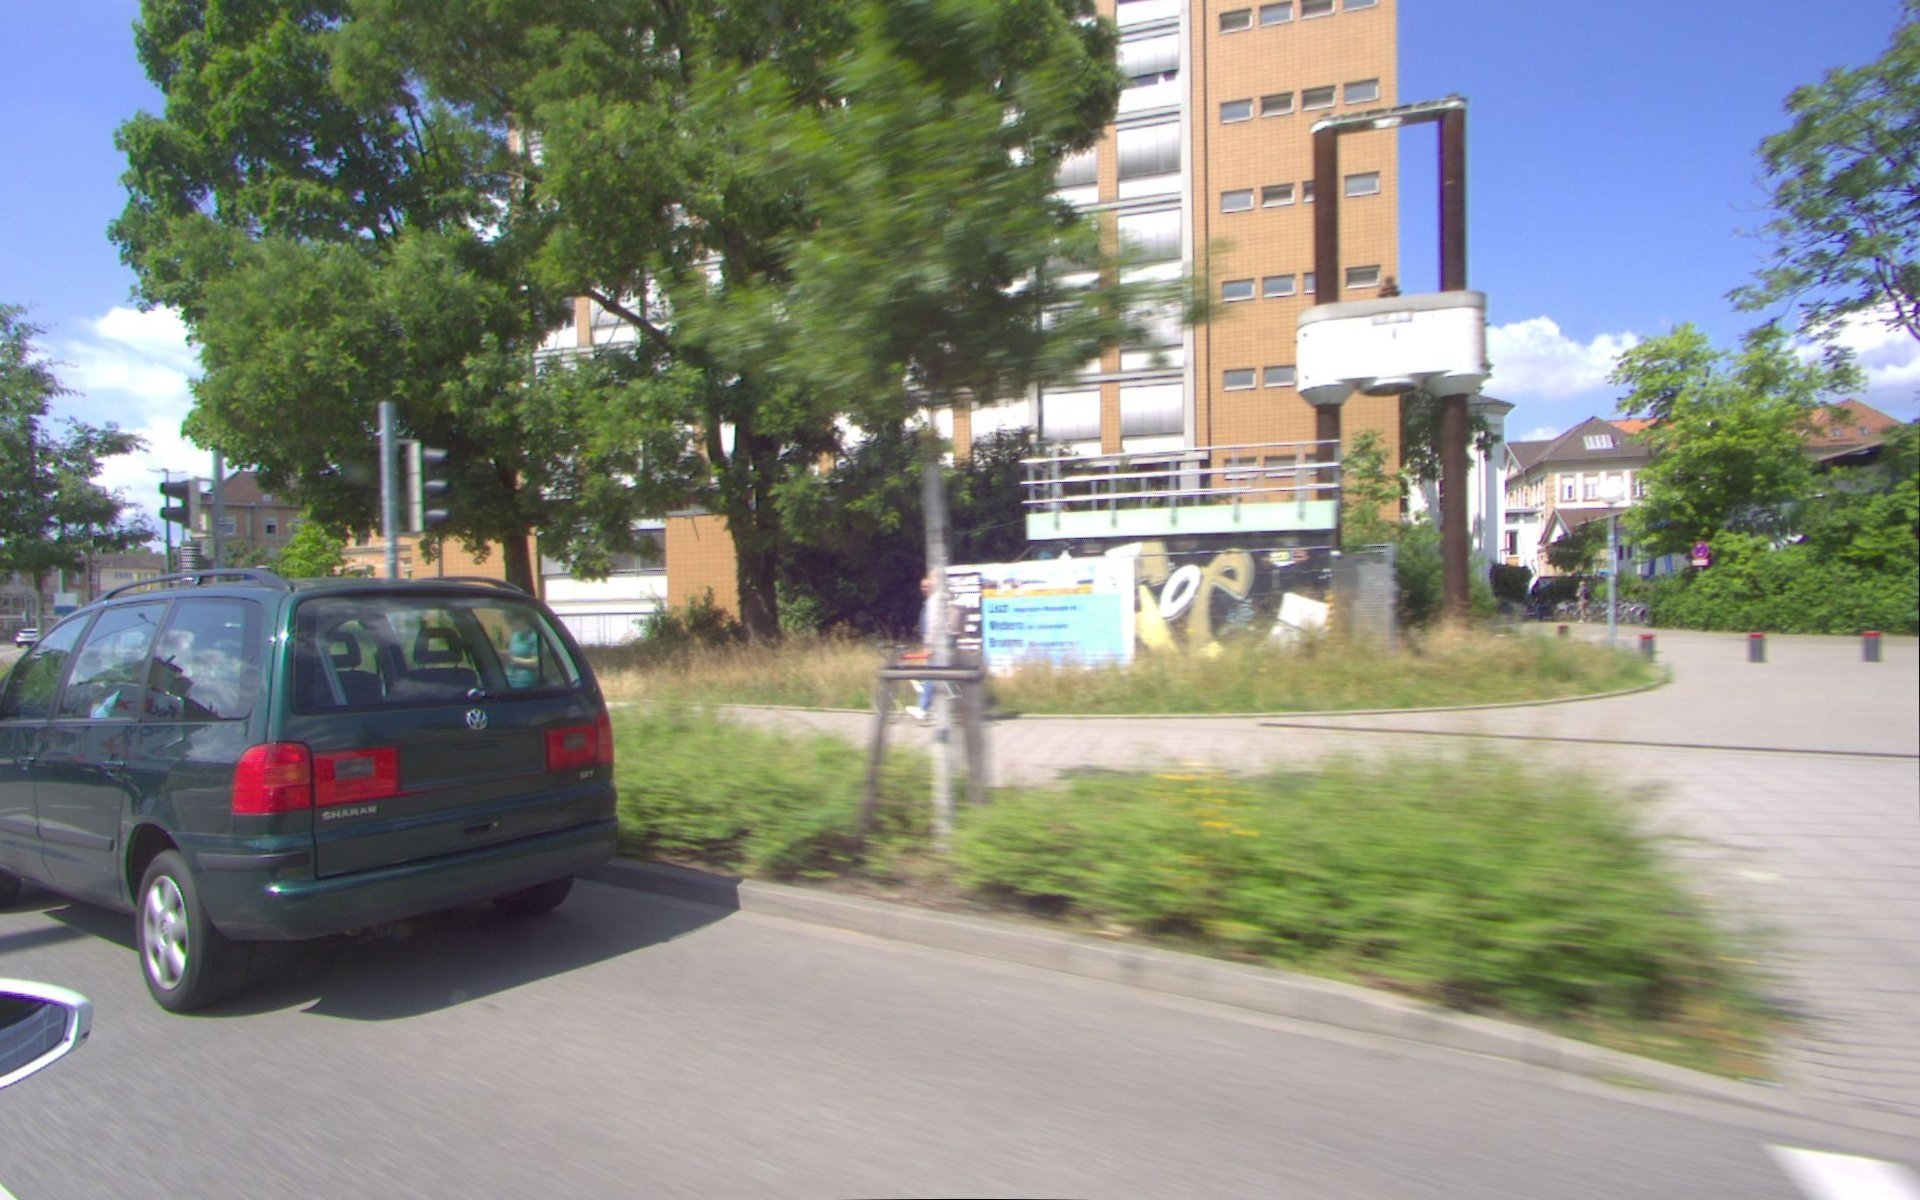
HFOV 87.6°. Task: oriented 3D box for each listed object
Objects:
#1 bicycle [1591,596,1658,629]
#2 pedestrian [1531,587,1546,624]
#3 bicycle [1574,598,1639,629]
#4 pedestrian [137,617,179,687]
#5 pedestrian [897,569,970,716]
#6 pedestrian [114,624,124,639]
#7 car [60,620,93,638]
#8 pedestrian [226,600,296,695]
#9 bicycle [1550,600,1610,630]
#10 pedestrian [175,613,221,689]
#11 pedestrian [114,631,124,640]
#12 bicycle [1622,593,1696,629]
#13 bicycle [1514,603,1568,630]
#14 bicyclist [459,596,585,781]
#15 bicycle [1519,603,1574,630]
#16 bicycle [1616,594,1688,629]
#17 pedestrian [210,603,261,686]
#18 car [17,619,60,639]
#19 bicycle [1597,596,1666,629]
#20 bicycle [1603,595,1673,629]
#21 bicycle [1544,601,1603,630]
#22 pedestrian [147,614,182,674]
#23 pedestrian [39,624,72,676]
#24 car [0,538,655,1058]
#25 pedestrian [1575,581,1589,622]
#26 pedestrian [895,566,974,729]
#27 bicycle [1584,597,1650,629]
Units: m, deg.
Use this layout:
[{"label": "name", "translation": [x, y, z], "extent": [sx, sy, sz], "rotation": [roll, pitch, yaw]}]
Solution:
[{"label": "bicycle", "translation": [28.826, 0.561, 43.473], "extent": [2.325, 1.364, 0.638], "rotation": [-1, -1, 15]}, {"label": "pedestrian", "translation": [29.504, 0.276, 51.079], "extent": [0.498, 1.874, 0.496], "rotation": [-1, -1, 12]}, {"label": "bicycle", "translation": [29.272, 0.626, 45.371], "extent": [2.325, 1.364, 0.638], "rotation": [-1, -1, 15]}, {"label": "pedestrian", "translation": [-19.388, 1.248, 24.206], "extent": [0.646, 1.648, 0.767], "rotation": [-4, 2, -45]}, {"label": "pedestrian", "translation": [-0.327, 0.511, 12.582], "extent": [0.600, 1.776, 0.749], "rotation": [0, 2, 28]}, {"label": "pedestrian", "translation": [-85.424, 3.220, 101.676], "extent": [0.684, 1.476, 0.677], "rotation": [0, -1, -29]}, {"label": "car", "translation": [-87.539, 2.878, 99.206], "extent": [1.862, 1.663, 3.933], "rotation": [0, 0, -33]}, {"label": "pedestrian", "translation": [-14.138, 0.949, 20.259], "extent": [0.767, 1.846, 0.755], "rotation": [-1, 3, 24]}, {"label": "bicycle", "translation": [29.672, 0.716, 47.930], "extent": [2.325, 1.364, 0.638], "rotation": [-1, -1, 15]}, {"label": "pedestrian", "translation": [-16.829, 1.128, 22.126], "extent": [0.717, 1.646, 0.586], "rotation": [-2, -1, 30]}, {"label": "pedestrian", "translation": [-85.321, 3.640, 101.591], "extent": [0.518, 0.918, 1.554], "rotation": [0, -2, -29]}, {"label": "bicycle", "translation": [27.949, 0.446, 40.066], "extent": [2.325, 1.364, 0.638], "rotation": [-1, -1, 15]}, {"label": "bicycle", "translation": [30.548, 0.882, 52.706], "extent": [2.325, 1.364, 0.638], "rotation": [-1, -1, 15]}, {"label": "bicyclist", "translation": [-4.102, 0.802, 9.416], "extent": [0.571, 1.623, 0.826], "rotation": [-2, 2, 28]}, {"label": "bicycle", "translation": [30.338, 0.852, 51.819], "extent": [2.325, 1.364, 0.638], "rotation": [-1, -1, 15]}, {"label": "bicycle", "translation": [28.113, 0.468, 40.711], "extent": [2.325, 1.364, 0.638], "rotation": [-1, -1, 15]}, {"label": "pedestrian", "translation": [-16.430, 1.003, 22.714], "extent": [0.628, 1.844, 0.755], "rotation": [-1, -1, 30]}, {"label": "car", "translation": [-82.021, 2.576, 89.147], "extent": [1.859, 1.663, 3.938], "rotation": [0, 0, -29]}, {"label": "bicycle", "translation": [28.652, 0.537, 42.765], "extent": [2.325, 1.364, 0.638], "rotation": [-1, -1, 15]}, {"label": "bicycle", "translation": [28.474, 0.515, 42.107], "extent": [2.325, 1.364, 0.638], "rotation": [-1, -1, 15]}, {"label": "bicycle", "translation": [29.885, 0.746, 48.804], "extent": [2.325, 1.364, 0.638], "rotation": [-1, -1, 15]}, {"label": "pedestrian", "translation": [-24.720, 1.363, 31.110], "extent": [0.667, 1.844, 0.752], "rotation": [-2, -2, 43]}, {"label": "pedestrian", "translation": [-28.899, 1.594, 31.991], "extent": [0.754, 1.610, 0.751], "rotation": [-2, -2, 45]}, {"label": "car", "translation": [-3.803, 0.741, 5.355], "extent": [4.387, 1.744, 1.791], "rotation": [-1, -2, 34]}, {"label": "pedestrian", "translation": [28.820, 0.080, 46.381], "extent": [0.409, 1.874, 0.364], "rotation": [-1, -1, 15]}, {"label": "pedestrian", "translation": [-0.287, 0.524, 11.682], "extent": [0.600, 1.827, 0.749], "rotation": [0, 2, 28]}, {"label": "bicycle", "translation": [28.955, 0.585, 44.144], "extent": [2.325, 1.364, 0.638], "rotation": [-1, -1, 15]}]
